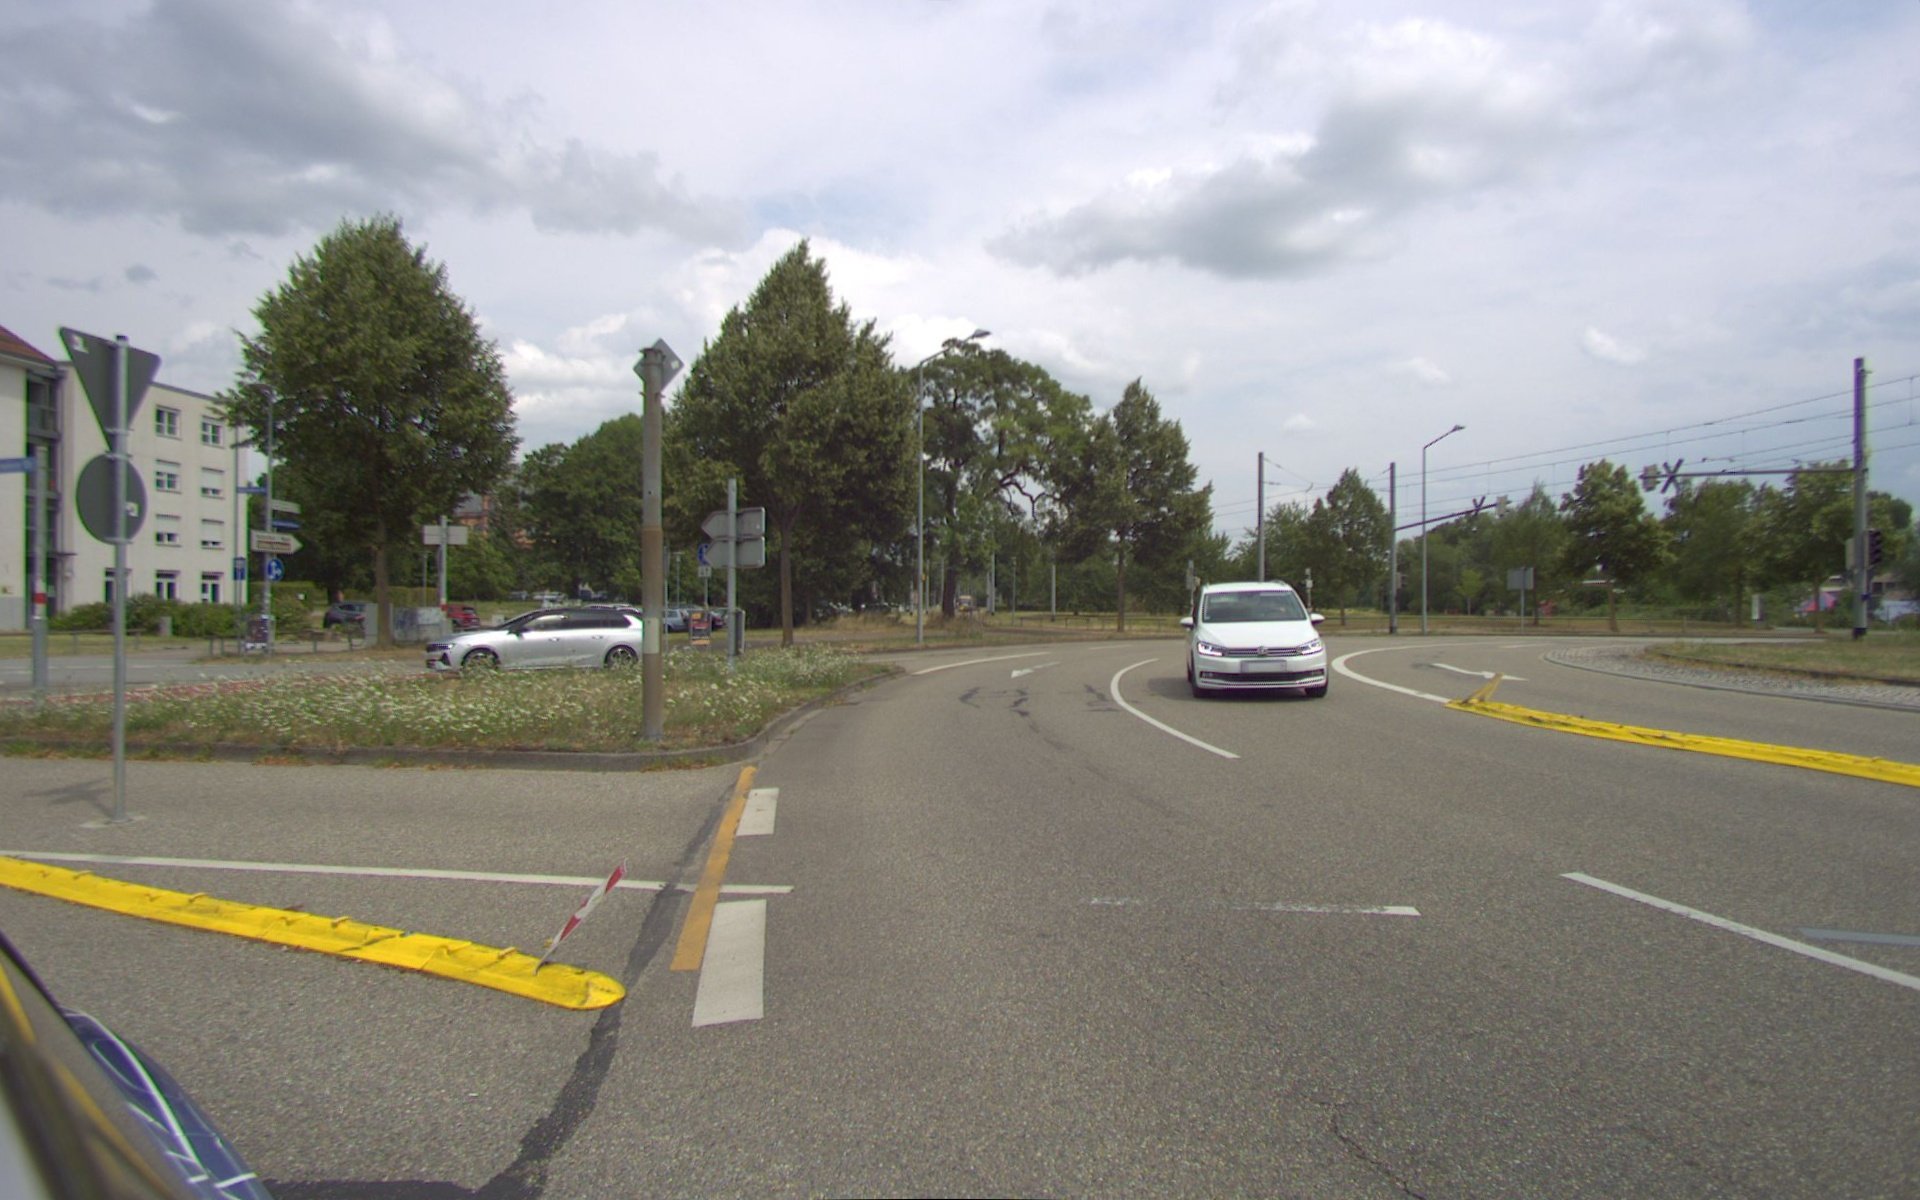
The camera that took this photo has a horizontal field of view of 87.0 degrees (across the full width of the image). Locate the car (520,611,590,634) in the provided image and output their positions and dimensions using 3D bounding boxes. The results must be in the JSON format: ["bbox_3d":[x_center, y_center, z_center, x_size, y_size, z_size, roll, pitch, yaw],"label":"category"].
[{"bbox_3d":[-27.005,1.480,67.478,3.953,1.479,1.816,0,0,2],"label":"car"}]

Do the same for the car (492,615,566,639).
[{"bbox_3d":[-27.048,1.709,63.594,3.953,1.479,1.816,0,0,2],"label":"car"}]

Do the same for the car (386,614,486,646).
[{"bbox_3d":[-27.696,1.559,53.567,4.351,1.610,1.997,0,0,4],"label":"car"}]

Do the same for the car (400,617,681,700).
[{"bbox_3d":[-8.633,1.118,21.033,5.097,1.493,2.005,0,-1,-35],"label":"car"}]

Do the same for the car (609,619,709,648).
[{"bbox_3d":[-16.064,1.757,54.214,4.825,1.482,1.831,0,0,4],"label":"car"}]

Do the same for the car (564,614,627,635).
[{"bbox_3d":[-26.583,1.759,73.903,3.953,1.479,1.816,0,0,2],"label":"car"}]

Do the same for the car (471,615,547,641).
[{"bbox_3d":[-27.359,1.690,61.477,3.953,1.479,1.614,0,0,2],"label":"car"}]

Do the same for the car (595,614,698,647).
[{"bbox_3d":[-15.880,1.524,51.437,4.641,1.482,1.833,-2,0,1],"label":"car"}]

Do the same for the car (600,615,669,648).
[{"bbox_3d":[-15.702,1.514,48.888,2.873,1.434,1.485,-2,-1,-3],"label":"car"}]

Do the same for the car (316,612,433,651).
[{"bbox_3d":[-27.741,1.470,48.067,4.440,1.778,1.999,0,0,2],"label":"car"}]

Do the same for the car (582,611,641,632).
[{"bbox_3d":[-27.078,1.669,78.632,3.953,1.586,1.816,0,-1,2],"label":"car"}]

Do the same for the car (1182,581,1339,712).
[{"bbox_3d":[4.453,0.678,15.294,1.920,1.678,4.334,-2,-2,15],"label":"car"}]
